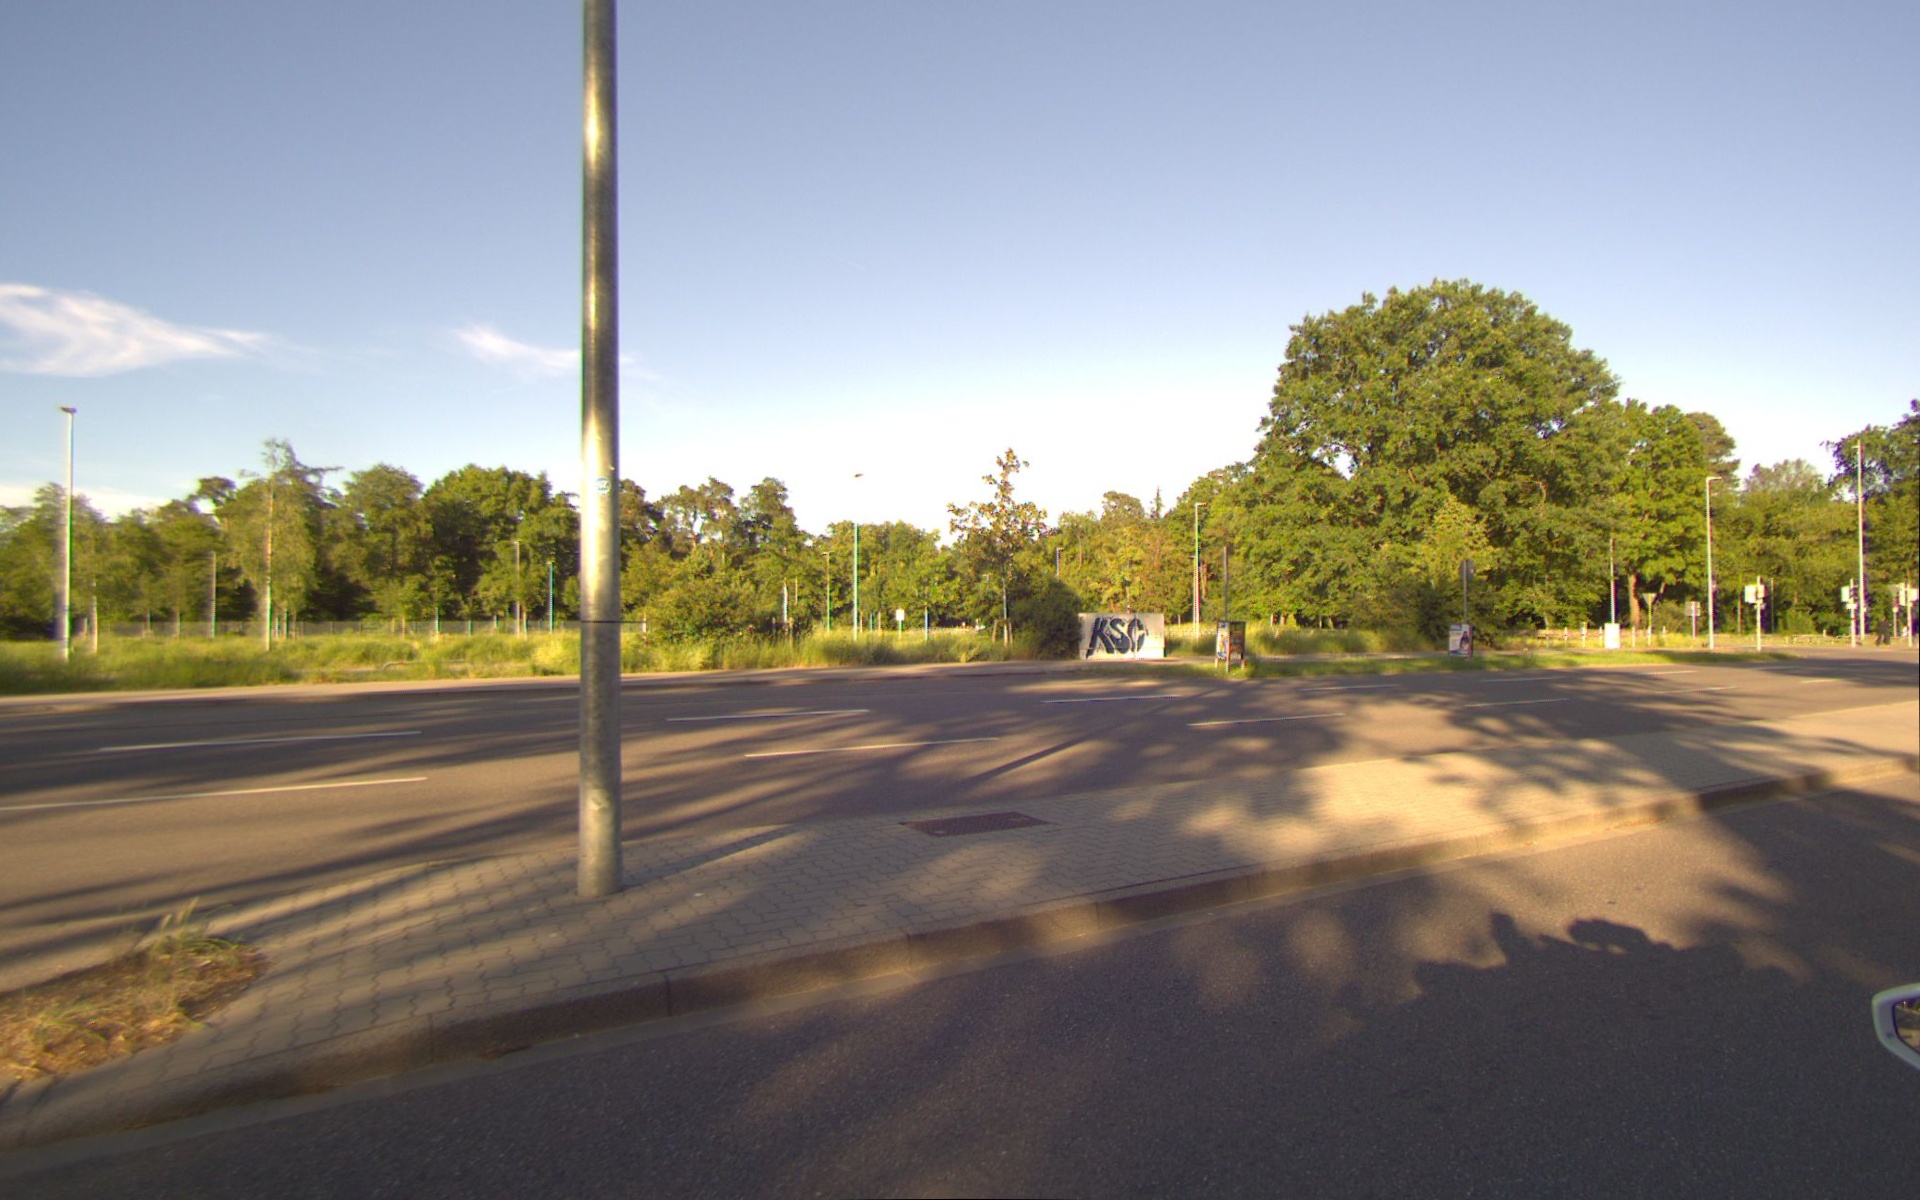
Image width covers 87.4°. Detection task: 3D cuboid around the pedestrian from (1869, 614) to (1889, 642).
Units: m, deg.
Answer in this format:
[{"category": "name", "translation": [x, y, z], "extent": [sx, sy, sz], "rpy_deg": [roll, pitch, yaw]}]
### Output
[{"category": "pedestrian", "translation": [51.381, 1.571, 56.159], "extent": [0.636, 1.580, 0.539], "rpy_deg": [-1, -1, 19]}]
